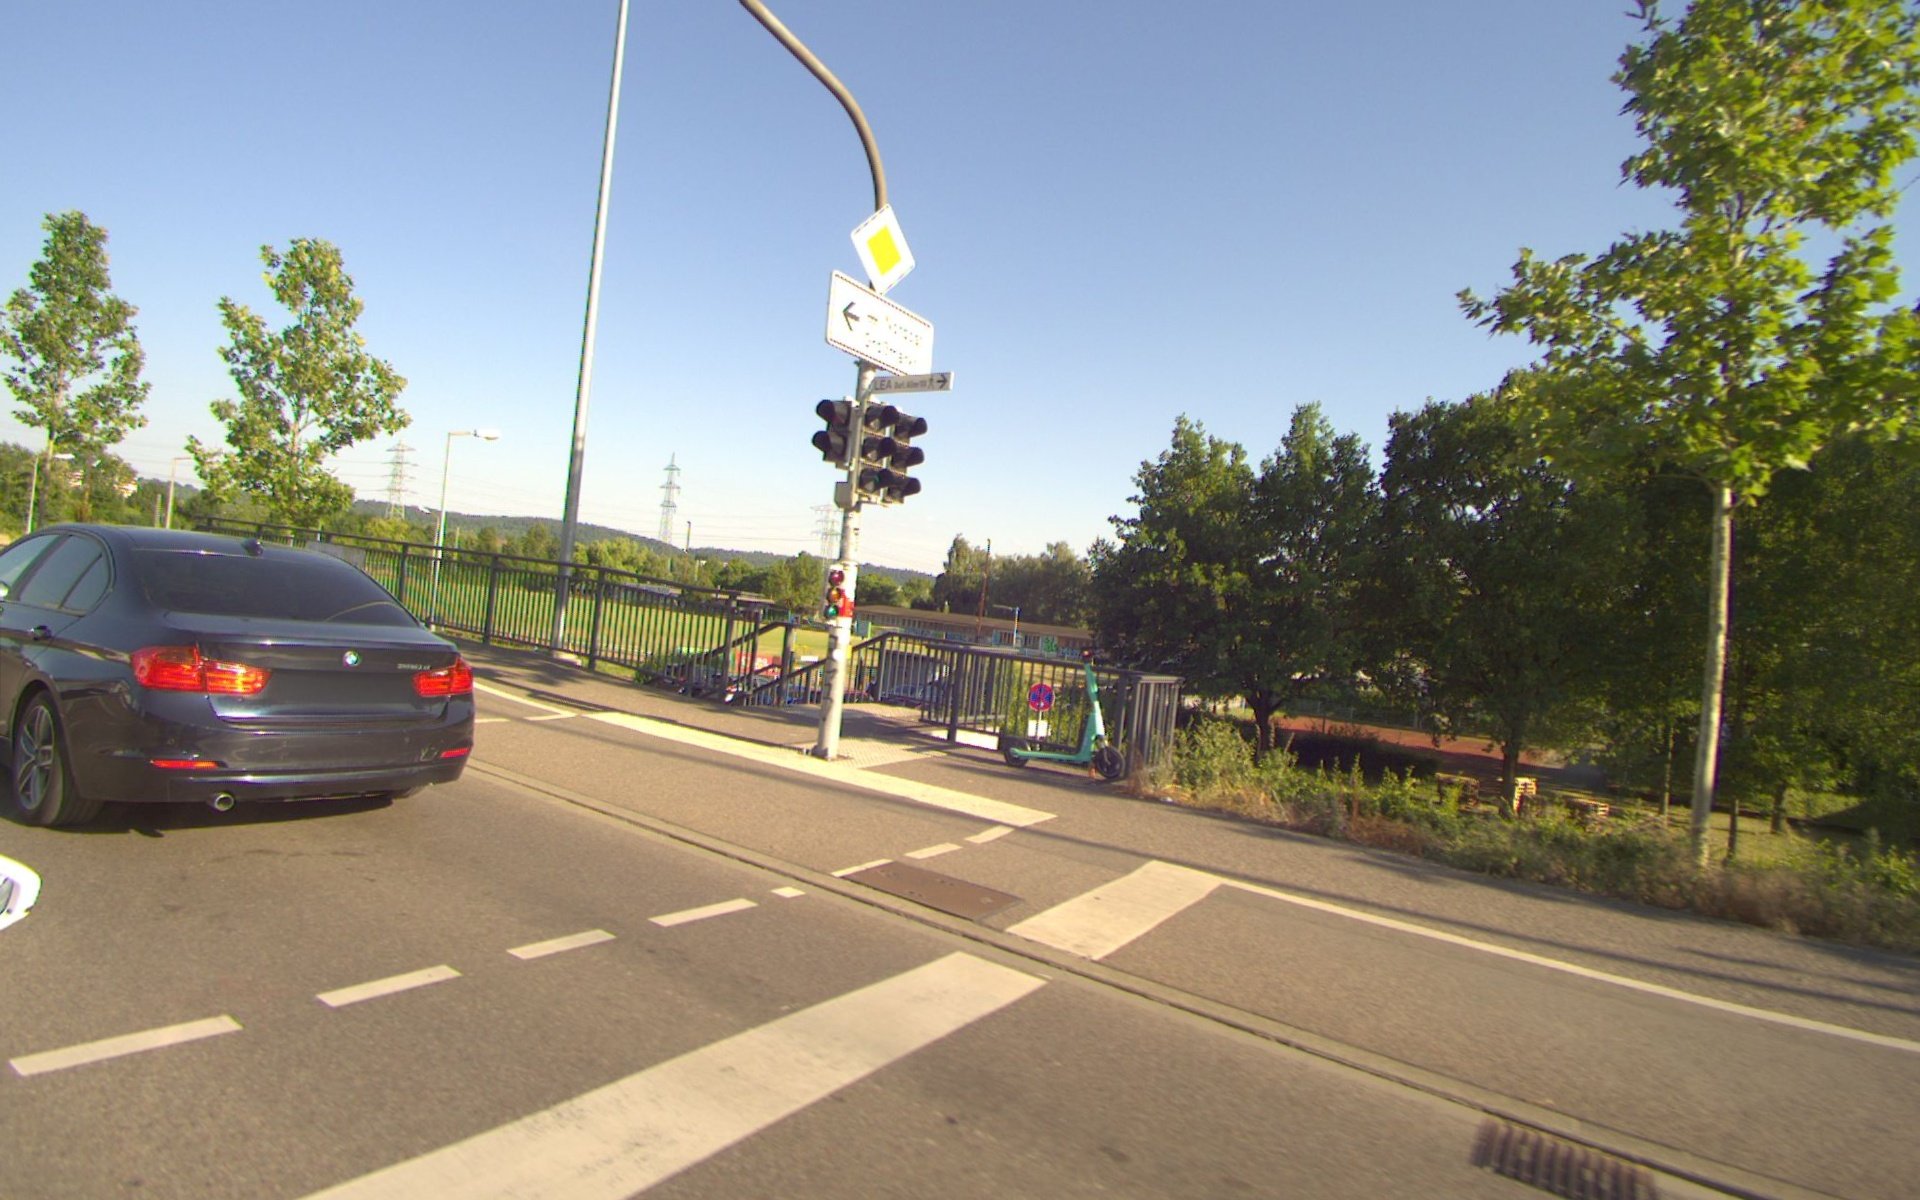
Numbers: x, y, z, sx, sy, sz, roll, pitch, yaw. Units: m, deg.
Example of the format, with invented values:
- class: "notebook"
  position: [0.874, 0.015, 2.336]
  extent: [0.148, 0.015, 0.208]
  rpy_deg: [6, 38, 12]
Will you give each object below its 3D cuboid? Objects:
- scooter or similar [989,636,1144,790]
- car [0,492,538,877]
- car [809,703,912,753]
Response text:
- class: "scooter or similar"
  position: [1.005, 1.029, 9.465]
  extent: [1.243, 1.246, 0.525]
  rpy_deg: [6, 1, 20]
- class: "car"
  position: [-4.811, 0.239, 6.027]
  extent: [4.511, 1.484, 1.869]
  rpy_deg: [7, -2, 33]
- class: "car"
  position: [-3.021, 3.916, 30.887]
  extent: [1.471, 1.230, 3.098]
  rpy_deg: [7, -3, 31]
